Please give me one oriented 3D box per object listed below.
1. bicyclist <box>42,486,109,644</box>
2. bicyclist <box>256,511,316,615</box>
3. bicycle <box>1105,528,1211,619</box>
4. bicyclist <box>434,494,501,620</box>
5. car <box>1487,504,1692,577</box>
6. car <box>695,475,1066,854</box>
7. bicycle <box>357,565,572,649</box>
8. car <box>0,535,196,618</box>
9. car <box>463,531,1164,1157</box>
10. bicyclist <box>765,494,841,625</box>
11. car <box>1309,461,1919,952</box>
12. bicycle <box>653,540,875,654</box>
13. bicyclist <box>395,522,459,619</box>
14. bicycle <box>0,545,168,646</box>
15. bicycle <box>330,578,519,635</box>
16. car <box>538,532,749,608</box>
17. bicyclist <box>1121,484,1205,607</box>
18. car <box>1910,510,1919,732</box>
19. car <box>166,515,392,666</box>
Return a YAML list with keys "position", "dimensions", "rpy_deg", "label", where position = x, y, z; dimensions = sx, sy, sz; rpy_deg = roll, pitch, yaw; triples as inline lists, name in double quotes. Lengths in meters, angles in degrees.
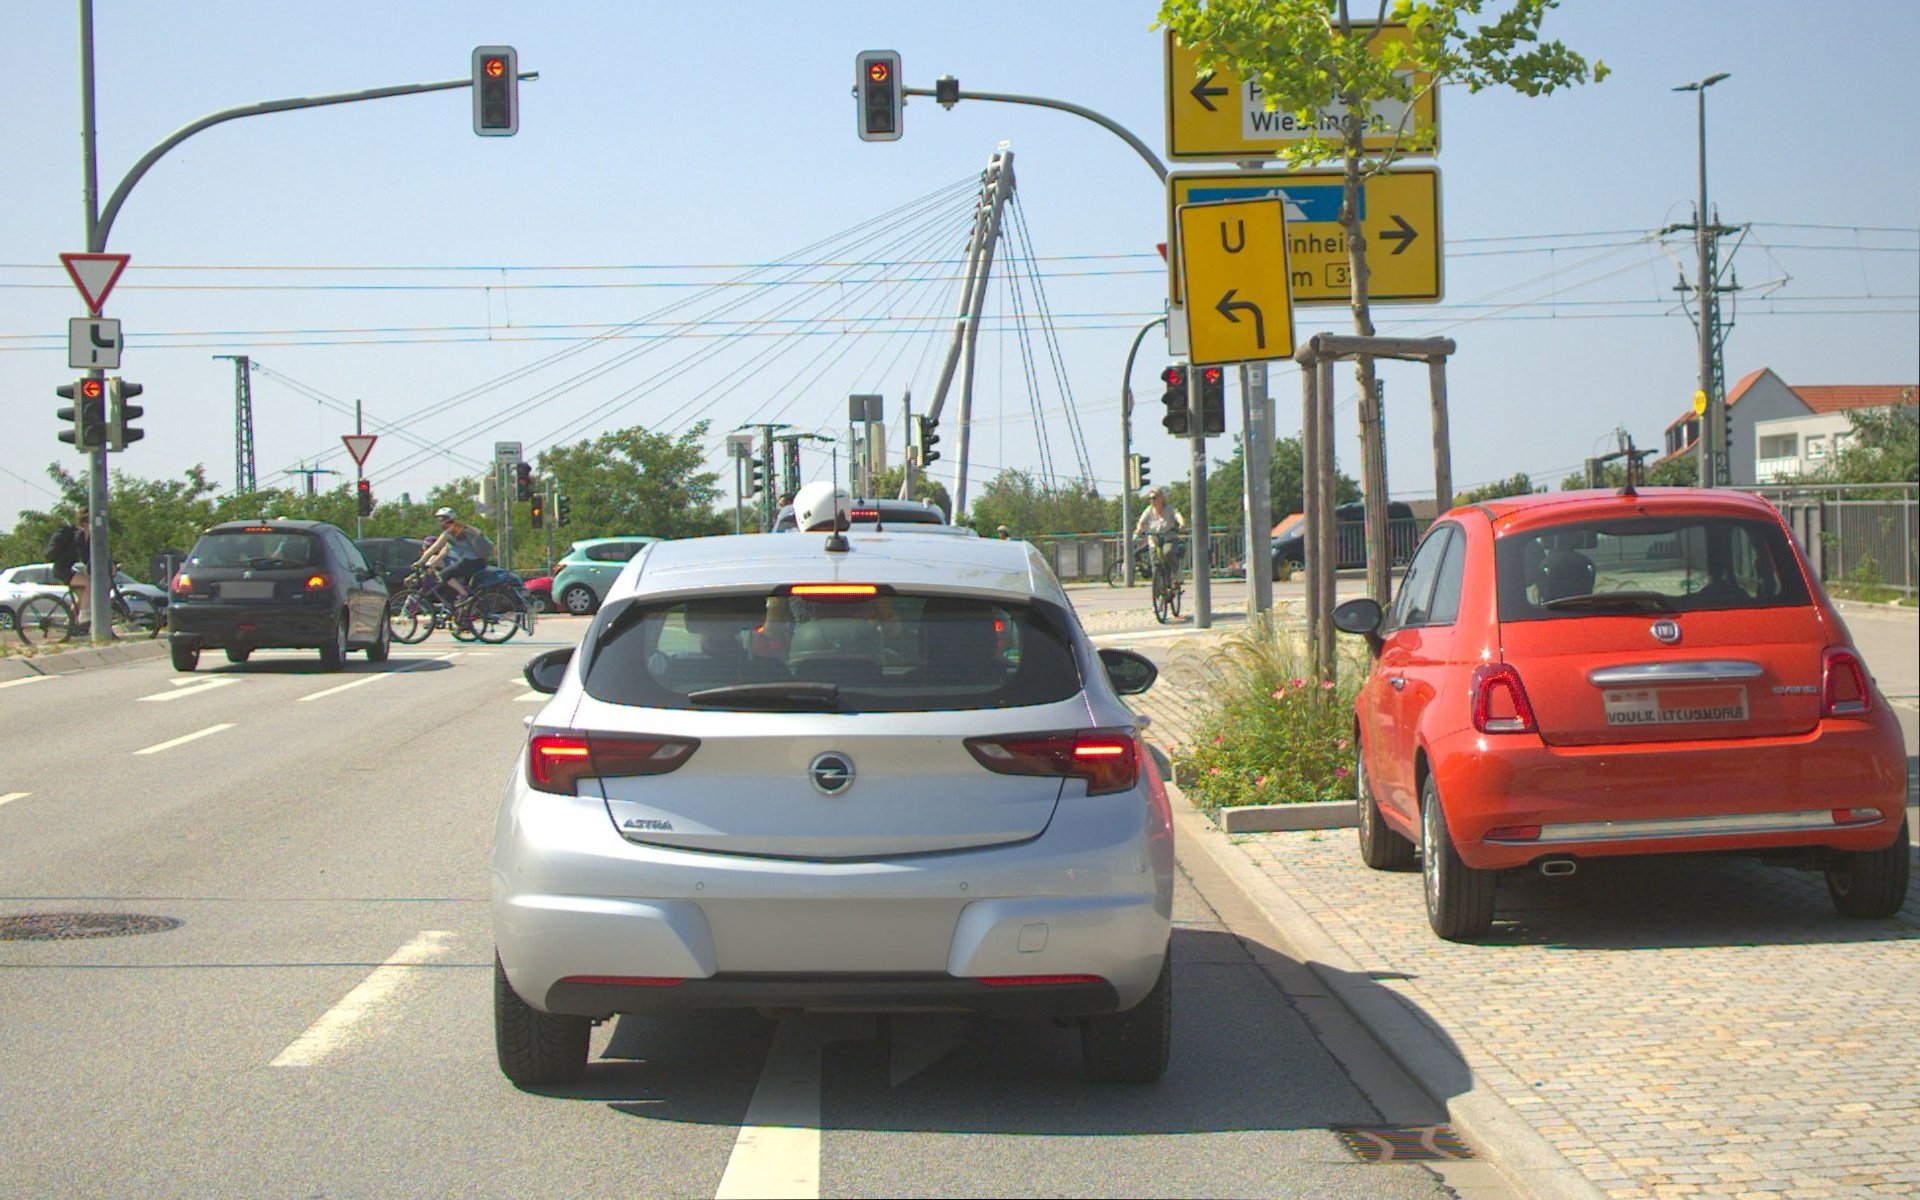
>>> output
- position: [-10.605, -0.419, 41.229]
  dimensions: [0.594, 1.881, 0.636]
  rpy_deg: [1, 0, 4]
  label: "bicyclist"
- position: [-9.868, -0.543, 50.348]
  dimensions: [0.718, 1.499, 0.824]
  rpy_deg: [0, 0, 0]
  label: "bicyclist"
- position: [2.557, -0.339, 44.091]
  dimensions: [0.676, 1.123, 2.363]
  rpy_deg: [1, 1, 21]
  label: "bicycle"
- position: [-5.931, -0.522, 41.451]
  dimensions: [0.657, 1.497, 0.844]
  rpy_deg: [1, 0, 1]
  label: "bicyclist"
- position: [14.680, -1.386, 80.222]
  dimensions: [4.244, 1.668, 2.001]
  rpy_deg: [0, 1, -17]
  label: "car"
- position: [-0.388, 0.271, 17.296]
  dimensions: [1.634, 1.668, 3.745]
  rpy_deg: [1, 1, -1]
  label: "car"
- position: [-5.963, 0.079, 41.446]
  dimensions: [2.504, 1.003, 0.605]
  rpy_deg: [0, 1, 1]
  label: "bicycle"
- position: [-17.318, -0.461, 67.960]
  dimensions: [3.975, 1.546, 1.675]
  rpy_deg: [-1, 0, 7]
  label: "car"
- position: [-0.387, 0.548, 10.443]
  dimensions: [1.690, 1.514, 4.271]
  rpy_deg: [0, 1, -1]
  label: "car"
- position: [-1.886, -0.484, 41.406]
  dimensions: [0.822, 1.554, 0.863]
  rpy_deg: [1, 0, 3]
  label: "bicyclist"
- position: [2.362, 0.286, 13.150]
  dimensions: [1.669, 1.534, 3.917]
  rpy_deg: [-2, 2, 1]
  label: "car"
- position: [-2.349, -0.040, 41.436]
  dimensions: [2.524, 1.130, 0.728]
  rpy_deg: [-5, 3, 3]
  label: "bicycle"
- position: [-6.570, -0.366, 42.422]
  dimensions: [0.657, 1.171, 0.731]
  rpy_deg: [1, 0, 1]
  label: "bicyclist"
- position: [-10.616, -0.062, 41.238]
  dimensions: [2.081, 1.174, 0.555]
  rpy_deg: [1, 0, 4]
  label: "bicycle"
- position: [-6.601, 0.076, 42.427]
  dimensions: [2.246, 0.690, 0.516]
  rpy_deg: [0, 1, 1]
  label: "bicycle"
- position: [-6.059, -0.587, 66.066]
  dimensions: [3.791, 1.357, 1.532]
  rpy_deg: [-1, 2, 6]
  label: "car"
- position: [2.620, -0.700, 44.226]
  dimensions: [0.821, 1.563, 0.947]
  rpy_deg: [1, 0, 20]
  label: "bicyclist"
- position: [2.635, 0.614, 4.681]
  dimensions: [1.581, 1.550, 3.547]
  rpy_deg: [-3, 2, -1]
  label: "car"
- position: [-6.622, -0.103, 33.699]
  dimensions: [1.587, 1.390, 3.340]
  rpy_deg: [0, 1, -1]
  label: "car"
